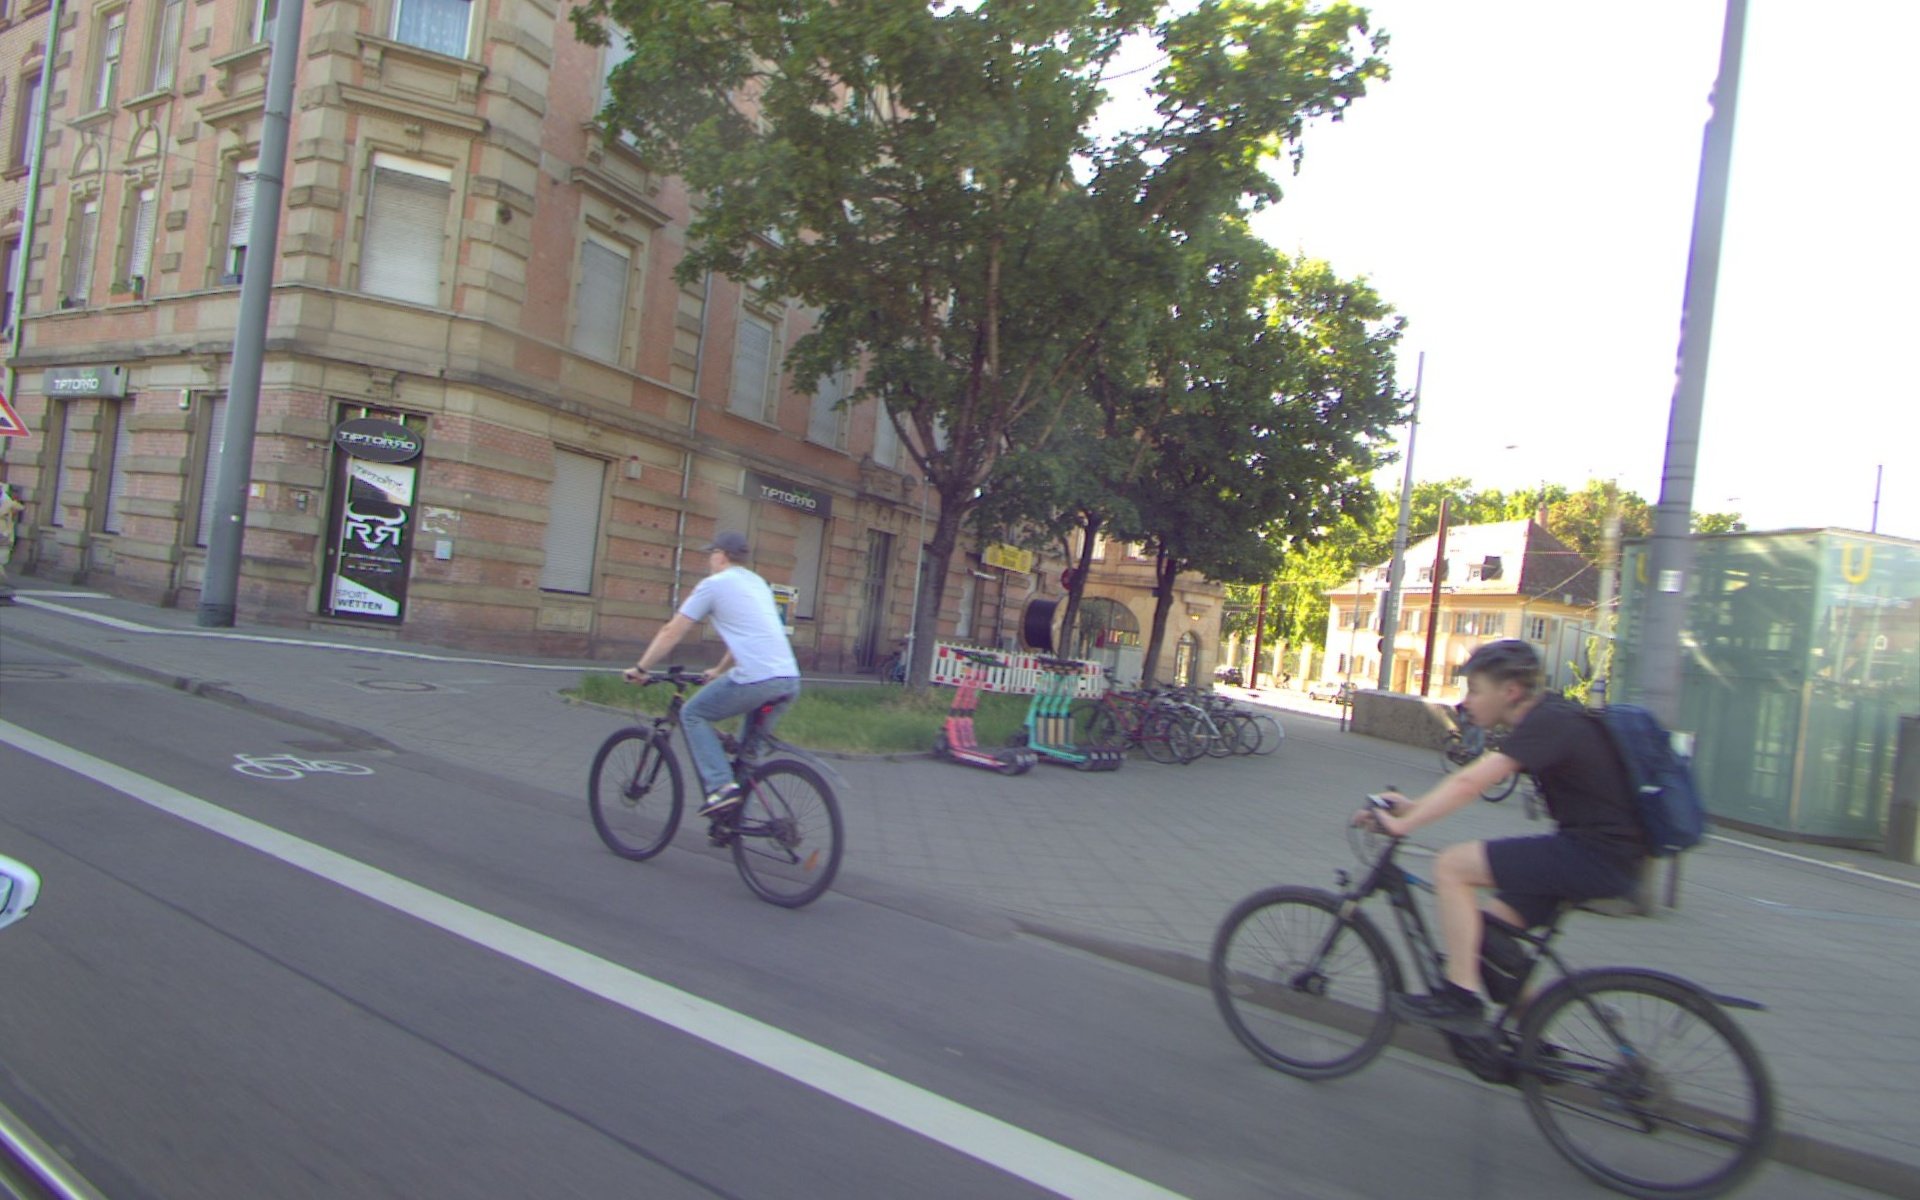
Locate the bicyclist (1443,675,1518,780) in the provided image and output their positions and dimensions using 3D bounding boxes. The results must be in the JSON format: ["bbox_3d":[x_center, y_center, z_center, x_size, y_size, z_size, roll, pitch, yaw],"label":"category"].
[{"bbox_3d":[8.995,2.176,17.419,0.447,1.679,1.045,7,-2,-10],"label":"bicyclist"}]

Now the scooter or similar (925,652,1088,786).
[{"bbox_3d":[0.467,1.231,10.668,1.675,1.170,0.271,6,-2,31],"label":"scooter or similar"}]

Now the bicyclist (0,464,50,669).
[{"bbox_3d":[-8.595,-0.337,8.605,1.100,1.702,0.683,6,-2,27],"label":"bicyclist"}]

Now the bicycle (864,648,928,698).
[{"bbox_3d":[-1.273,1.480,20.260,0.398,0.865,1.419,6,-3,36],"label":"bicycle"}]

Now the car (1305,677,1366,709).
[{"bbox_3d":[24.928,6.168,66.889,1.888,1.640,3.814,6,-2,-13],"label":"car"}]

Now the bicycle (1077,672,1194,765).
[{"bbox_3d":[2.432,1.638,14.018,1.459,1.073,0.403,5,-3,35],"label":"bicycle"}]

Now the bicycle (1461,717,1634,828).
[{"bbox_3d":[7.722,2.242,13.332,0.527,1.130,1.923,8,-3,-26],"label":"bicycle"}]

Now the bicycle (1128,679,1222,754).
[{"bbox_3d":[3.723,2.014,17.477,1.436,1.073,0.404,6,-2,26],"label":"bicycle"}]

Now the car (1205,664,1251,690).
[{"bbox_3d":[21.432,6.146,80.678,1.888,1.640,3.814,6,-2,-13],"label":"car"}]

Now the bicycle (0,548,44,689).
[{"bbox_3d":[-8.723,0.074,8.731,1.902,1.130,0.533,6,-3,32],"label":"bicycle"}]

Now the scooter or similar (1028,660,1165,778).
[{"bbox_3d":[1.647,1.422,12.248,1.538,1.209,0.271,6,-2,31],"label":"scooter or similar"}]

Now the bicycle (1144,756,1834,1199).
[{"bbox_3d":[1.690,1.269,3.507,1.901,1.131,0.532,5,-1,31],"label":"bicycle"}]

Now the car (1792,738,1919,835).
[{"bbox_3d":[20.700,4.116,21.480,1.886,1.706,4.248,6,-2,-8],"label":"car"}]

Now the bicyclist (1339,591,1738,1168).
[{"bbox_3d":[1.959,0.856,3.496,0.964,1.631,0.625,6,-2,30],"label":"bicyclist"}]

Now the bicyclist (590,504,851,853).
[{"bbox_3d":[-1.248,0.383,5.297,0.871,1.612,0.784,7,-1,31],"label":"bicyclist"}]

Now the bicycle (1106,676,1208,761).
[{"bbox_3d":[2.944,1.760,15.093,1.329,1.073,0.404,6,-2,31],"label":"bicycle"}]

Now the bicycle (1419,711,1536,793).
[{"bbox_3d":[8.936,2.601,17.495,0.480,1.070,2.193,7,-2,-9],"label":"bicycle"}]

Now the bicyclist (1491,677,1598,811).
[{"bbox_3d":[7.808,1.899,13.461,0.591,1.631,0.949,8,-2,-19],"label":"bicyclist"}]

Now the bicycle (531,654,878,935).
[{"bbox_3d":[-1.394,0.946,5.307,1.900,1.082,0.387,7,0,28],"label":"bicycle"}]

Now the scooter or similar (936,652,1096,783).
[{"bbox_3d":[0.586,1.253,10.927,1.675,1.176,0.271,6,-2,31],"label":"scooter or similar"}]

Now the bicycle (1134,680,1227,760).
[{"bbox_3d":[3.504,1.899,16.000,1.326,1.073,0.405,7,-2,15],"label":"bicycle"}]

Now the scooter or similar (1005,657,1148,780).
[{"bbox_3d":[1.335,1.350,11.683,1.538,1.198,0.271,6,-2,31],"label":"scooter or similar"}]

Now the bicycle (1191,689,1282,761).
[{"bbox_3d":[4.972,2.227,18.087,1.435,1.073,0.405,6,-2,24],"label":"bicycle"}]

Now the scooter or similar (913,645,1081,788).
[{"bbox_3d":[0.354,1.173,10.396,1.675,1.233,0.271,6,-2,31],"label":"scooter or similar"}]

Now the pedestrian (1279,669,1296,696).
[{"bbox_3d":[24.580,6.171,75.540,0.771,1.878,0.743,8,-2,-18],"label":"pedestrian"}]

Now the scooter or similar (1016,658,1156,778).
[{"bbox_3d":[1.480,1.386,11.963,1.538,1.198,0.271,6,-2,31],"label":"scooter or similar"}]
